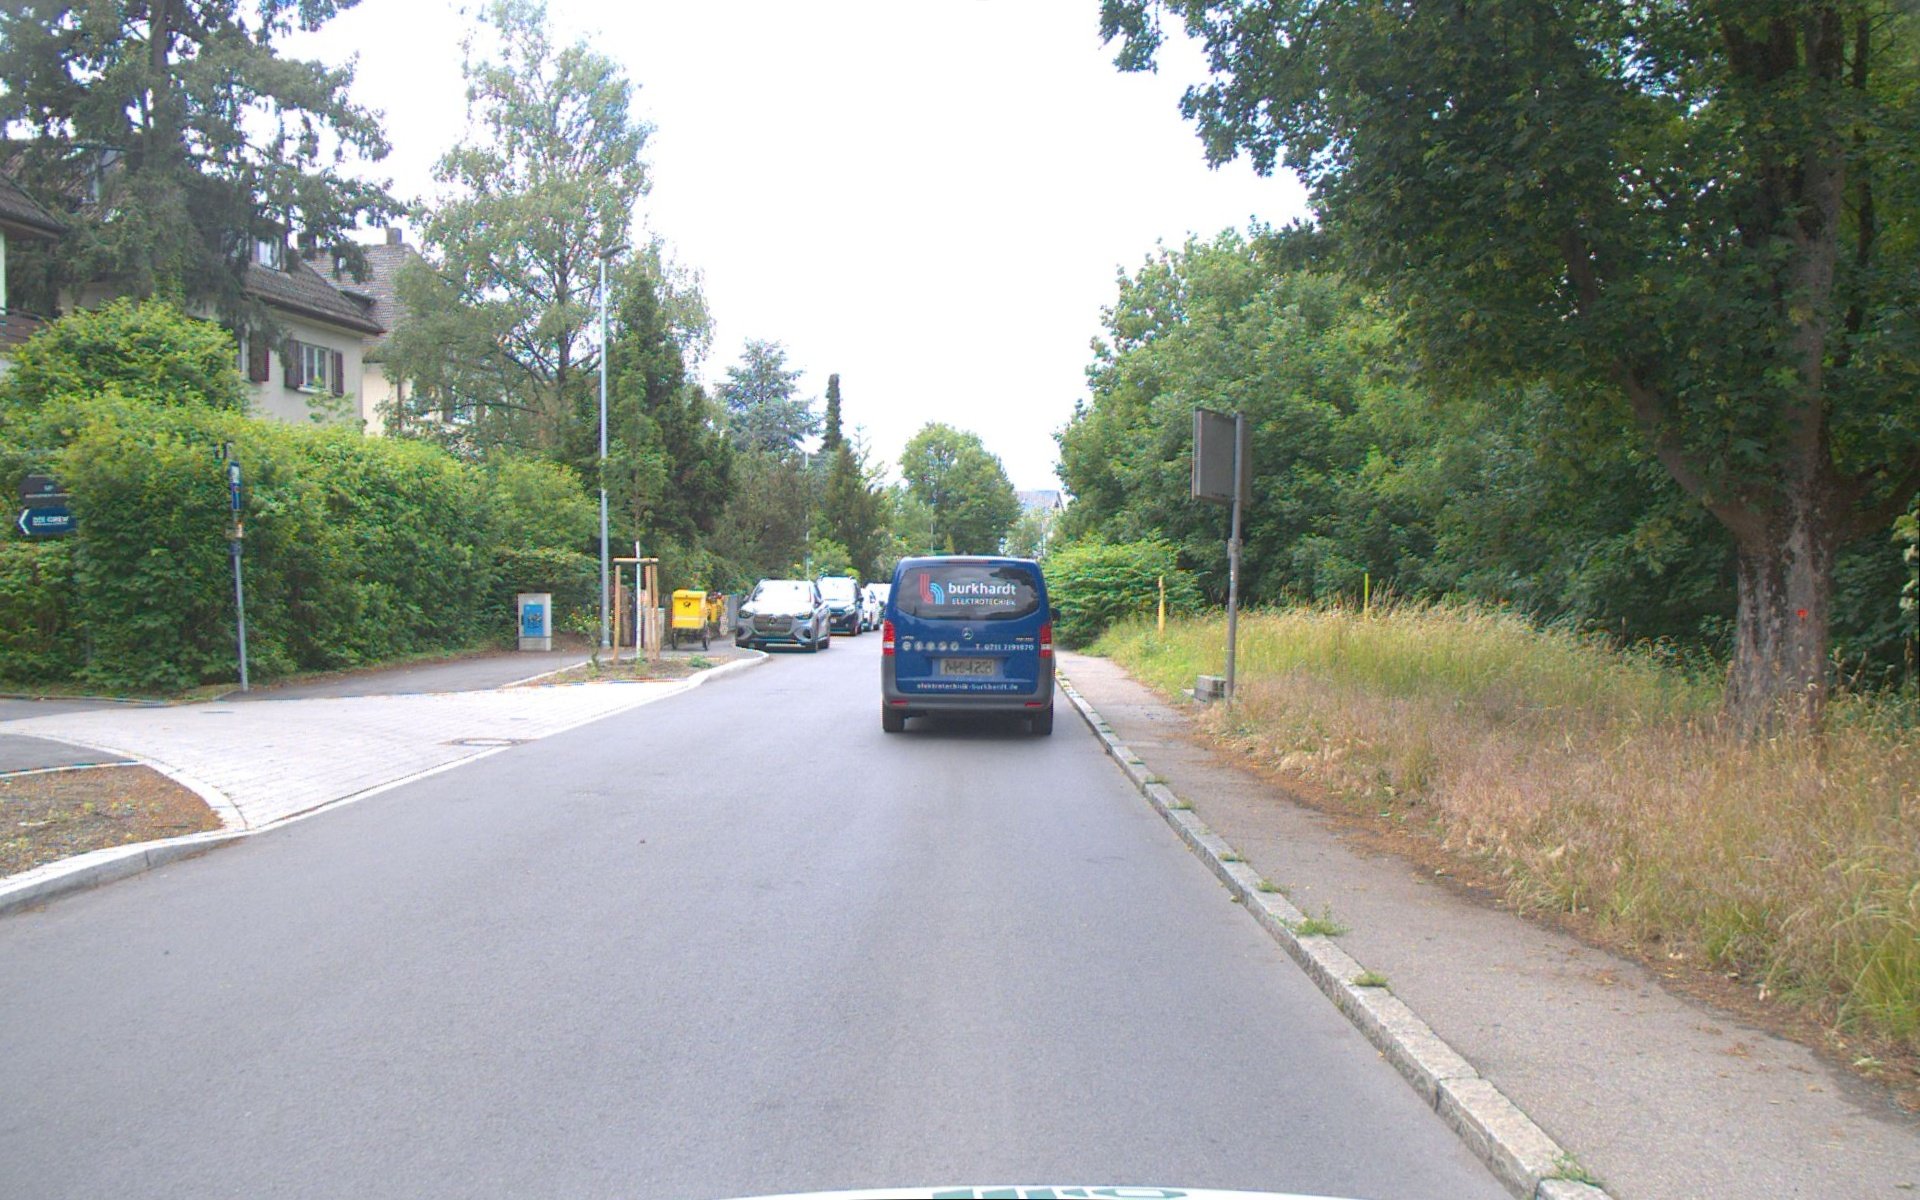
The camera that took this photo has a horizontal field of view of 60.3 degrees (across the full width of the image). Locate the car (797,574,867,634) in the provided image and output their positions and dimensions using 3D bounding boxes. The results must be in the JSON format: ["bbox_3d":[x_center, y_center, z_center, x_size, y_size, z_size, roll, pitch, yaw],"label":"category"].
[{"bbox_3d":[-3.996,0.084,52.185,1.794,1.782,4.001,1,1,1],"label":"car"}]

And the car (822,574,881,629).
[{"bbox_3d":[-3.798,0.068,58.351,1.794,1.836,4.000,1,0,0],"label":"car"}]

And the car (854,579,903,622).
[{"bbox_3d":[-3.611,-0.001,73.831,1.853,1.721,4.550,1,2,1],"label":"car"}]

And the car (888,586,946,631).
[{"bbox_3d":[-1.431,0.268,56.742,1.782,1.469,4.001,1,0,1],"label":"car"}]

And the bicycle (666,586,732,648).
[{"bbox_3d":[-5.709,0.359,36.360,0.887,1.273,2.916,2,0,1],"label":"bicycle"}]

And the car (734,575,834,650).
[{"bbox_3d":[-4.112,0.263,39.282,1.798,1.659,4.301,1,0,1],"label":"car"}]

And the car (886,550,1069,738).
[{"bbox_3d":[0.102,0.381,18.677,1.851,1.876,3.999,0,2,-2],"label":"car"}]
